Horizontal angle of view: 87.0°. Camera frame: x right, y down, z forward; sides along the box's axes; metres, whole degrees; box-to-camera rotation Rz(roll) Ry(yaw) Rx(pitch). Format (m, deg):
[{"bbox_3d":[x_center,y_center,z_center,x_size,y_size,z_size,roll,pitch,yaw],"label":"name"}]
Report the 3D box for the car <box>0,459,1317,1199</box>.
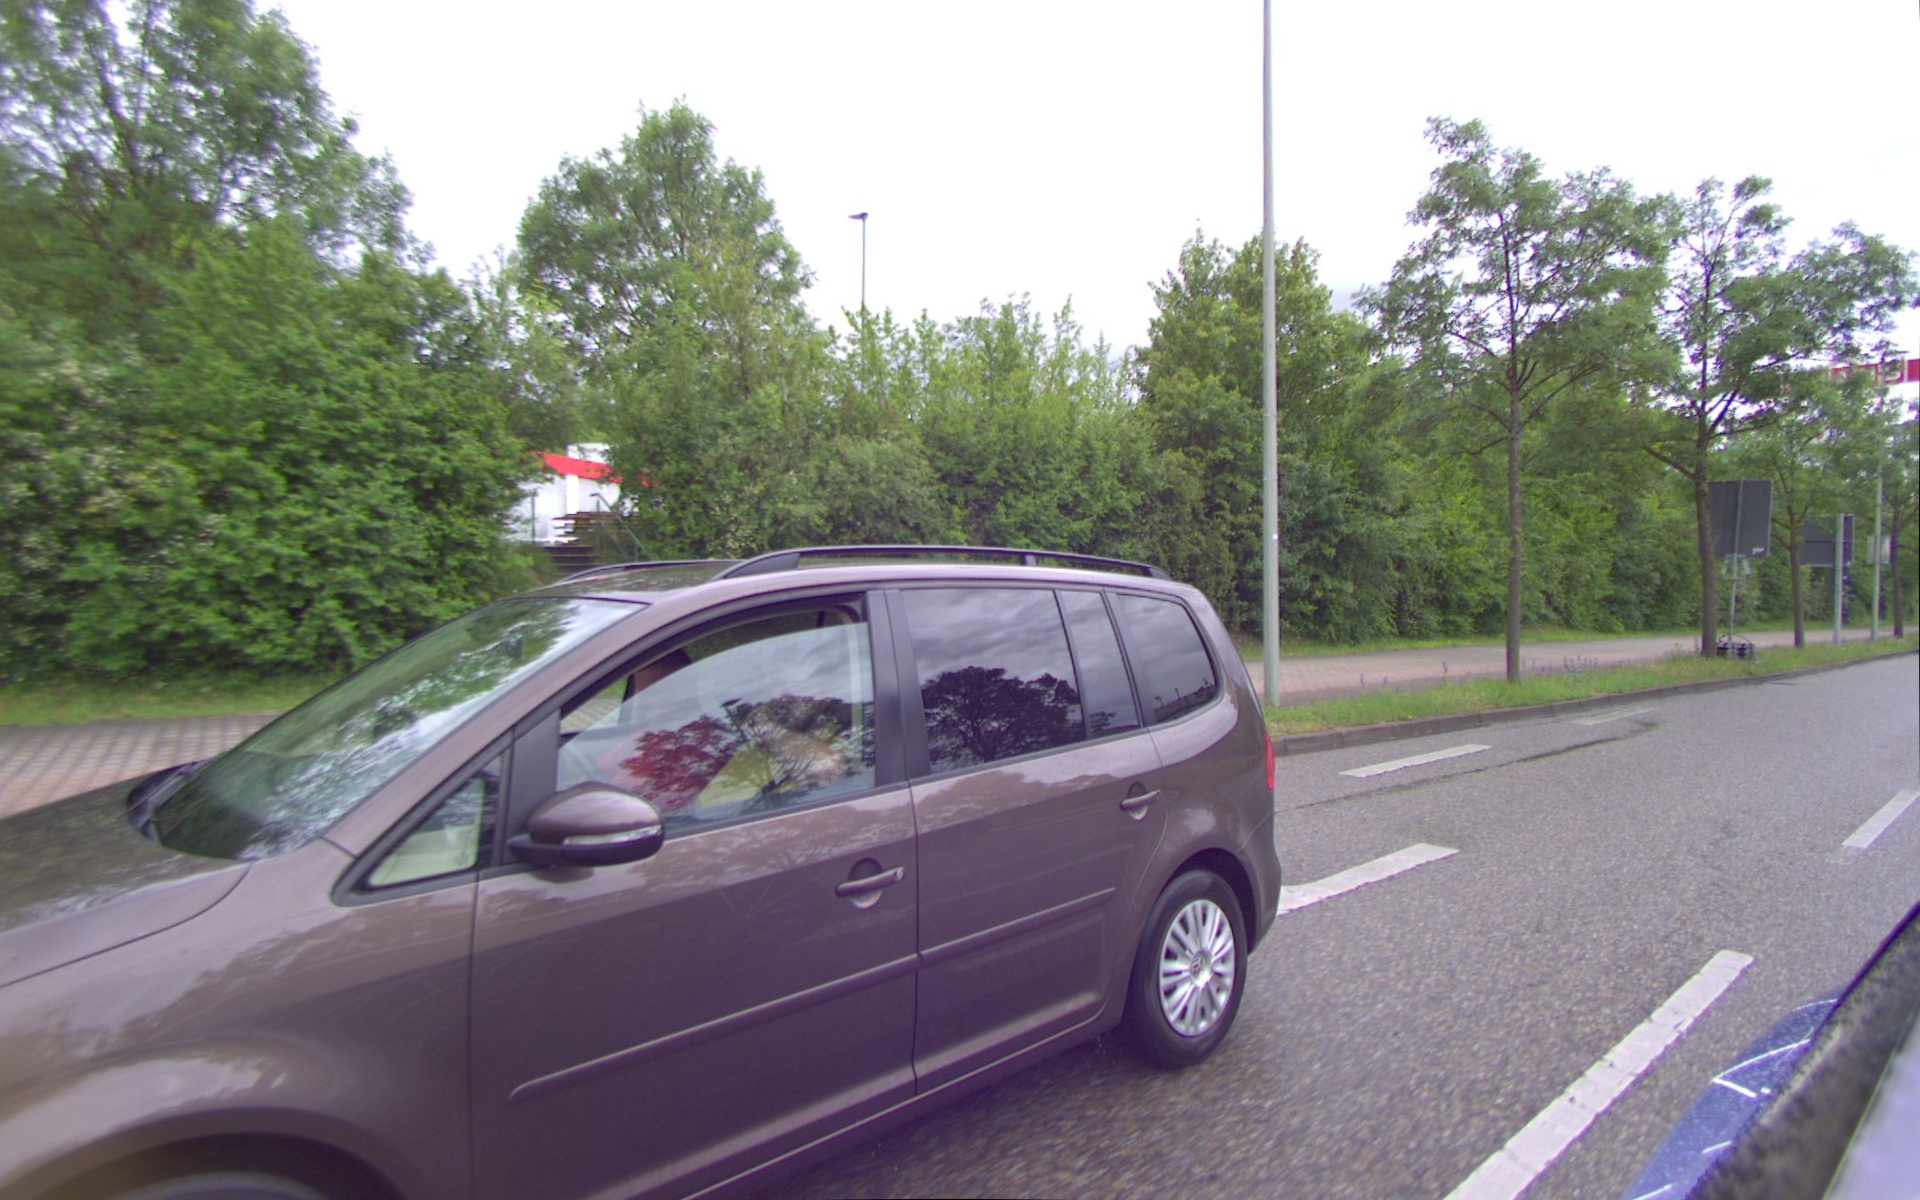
[{"bbox_3d":[-0.801,0.608,2.941,4.058,1.617,1.717,0,0,-41],"label":"car"}]
